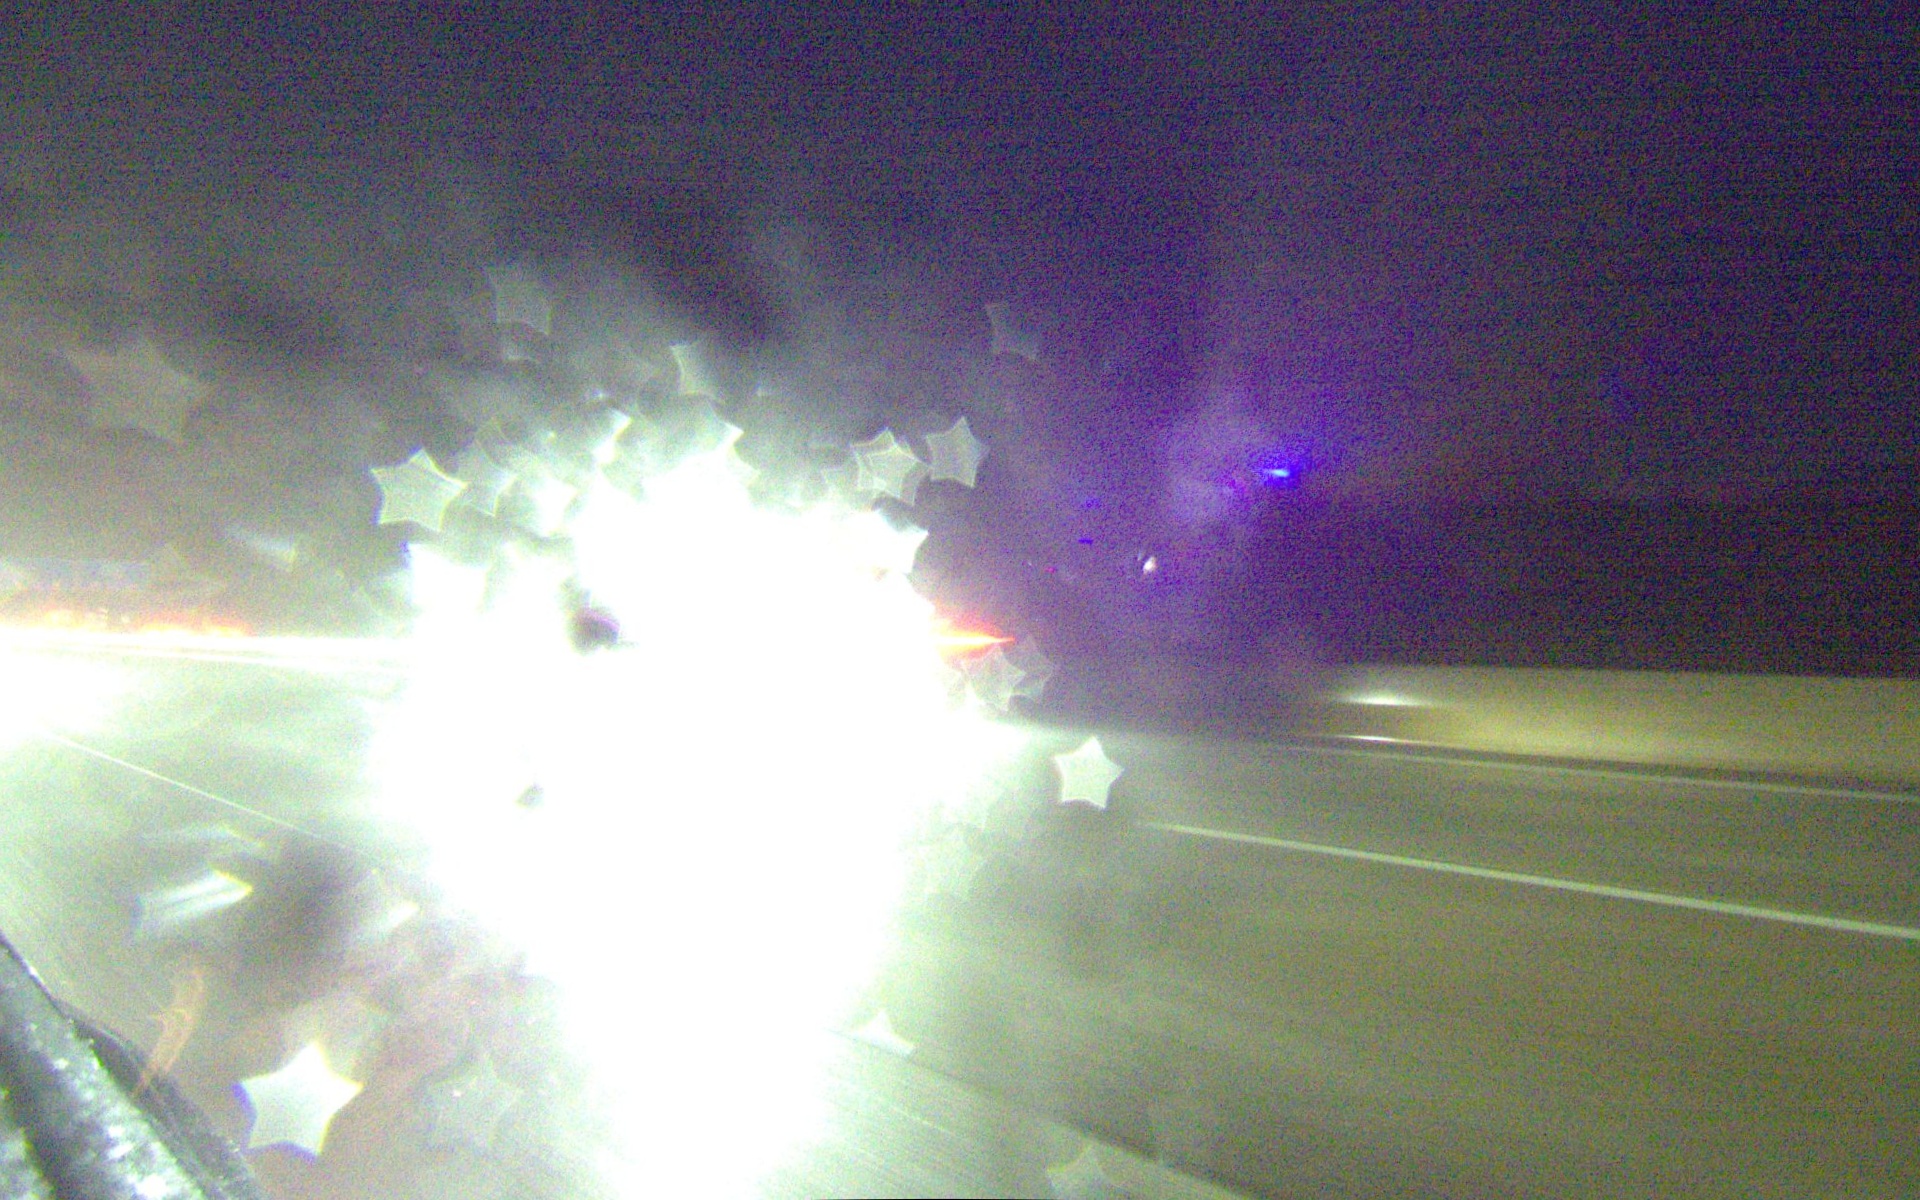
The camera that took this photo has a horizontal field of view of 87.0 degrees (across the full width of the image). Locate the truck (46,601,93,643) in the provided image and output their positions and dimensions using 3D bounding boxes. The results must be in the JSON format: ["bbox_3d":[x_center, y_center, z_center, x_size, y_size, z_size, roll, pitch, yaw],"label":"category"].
[{"bbox_3d":[-143.798,3.489,163.376,17.290,6.460,3.190,-1,0,40],"label":"truck"}]

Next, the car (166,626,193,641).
[{"bbox_3d":[-92.103,3.978,119.341,3.884,1.685,1.745,-1,0,40],"label":"car"}]

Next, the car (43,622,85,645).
[{"bbox_3d":[-76.659,2.808,86.524,5.161,1.820,1.973,-1,0,40],"label":"car"}]

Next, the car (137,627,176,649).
[{"bbox_3d":[-65.138,3.041,82.050,3.884,1.685,1.745,-1,0,40],"label":"car"}]

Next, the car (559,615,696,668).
[{"bbox_3d":[-9.969,1.190,30.138,4.671,1.405,1.734,-1,0,41],"label":"car"}]

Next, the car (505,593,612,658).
[{"bbox_3d":[-16.012,0.966,40.252,4.842,2.419,1.949,-1,0,41],"label":"car"}]

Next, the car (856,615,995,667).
[{"bbox_3d":[-1.153,1.259,32.418,4.345,1.529,1.788,-1,0,39],"label":"car"}]

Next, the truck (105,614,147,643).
[{"bbox_3d":[-91.378,3.120,110.833,6.697,3.022,2.426,-1,0,40],"label":"truck"}]

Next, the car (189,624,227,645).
[{"bbox_3d":[-63.220,2.871,85.102,3.884,1.685,1.745,-1,0,40],"label":"car"}]

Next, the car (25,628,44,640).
[{"bbox_3d":[-144.057,5.278,157.482,4.202,1.640,1.659,-1,0,40],"label":"car"}]

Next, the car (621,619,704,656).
[{"bbox_3d":[-14.821,1.821,50.297,4.540,1.697,1.579,-1,0,37],"label":"car"}]

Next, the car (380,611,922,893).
[{"bbox_3d":[-2.405,0.837,7.235,4.242,1.441,1.640,-2,-1,40],"label":"car"}]
